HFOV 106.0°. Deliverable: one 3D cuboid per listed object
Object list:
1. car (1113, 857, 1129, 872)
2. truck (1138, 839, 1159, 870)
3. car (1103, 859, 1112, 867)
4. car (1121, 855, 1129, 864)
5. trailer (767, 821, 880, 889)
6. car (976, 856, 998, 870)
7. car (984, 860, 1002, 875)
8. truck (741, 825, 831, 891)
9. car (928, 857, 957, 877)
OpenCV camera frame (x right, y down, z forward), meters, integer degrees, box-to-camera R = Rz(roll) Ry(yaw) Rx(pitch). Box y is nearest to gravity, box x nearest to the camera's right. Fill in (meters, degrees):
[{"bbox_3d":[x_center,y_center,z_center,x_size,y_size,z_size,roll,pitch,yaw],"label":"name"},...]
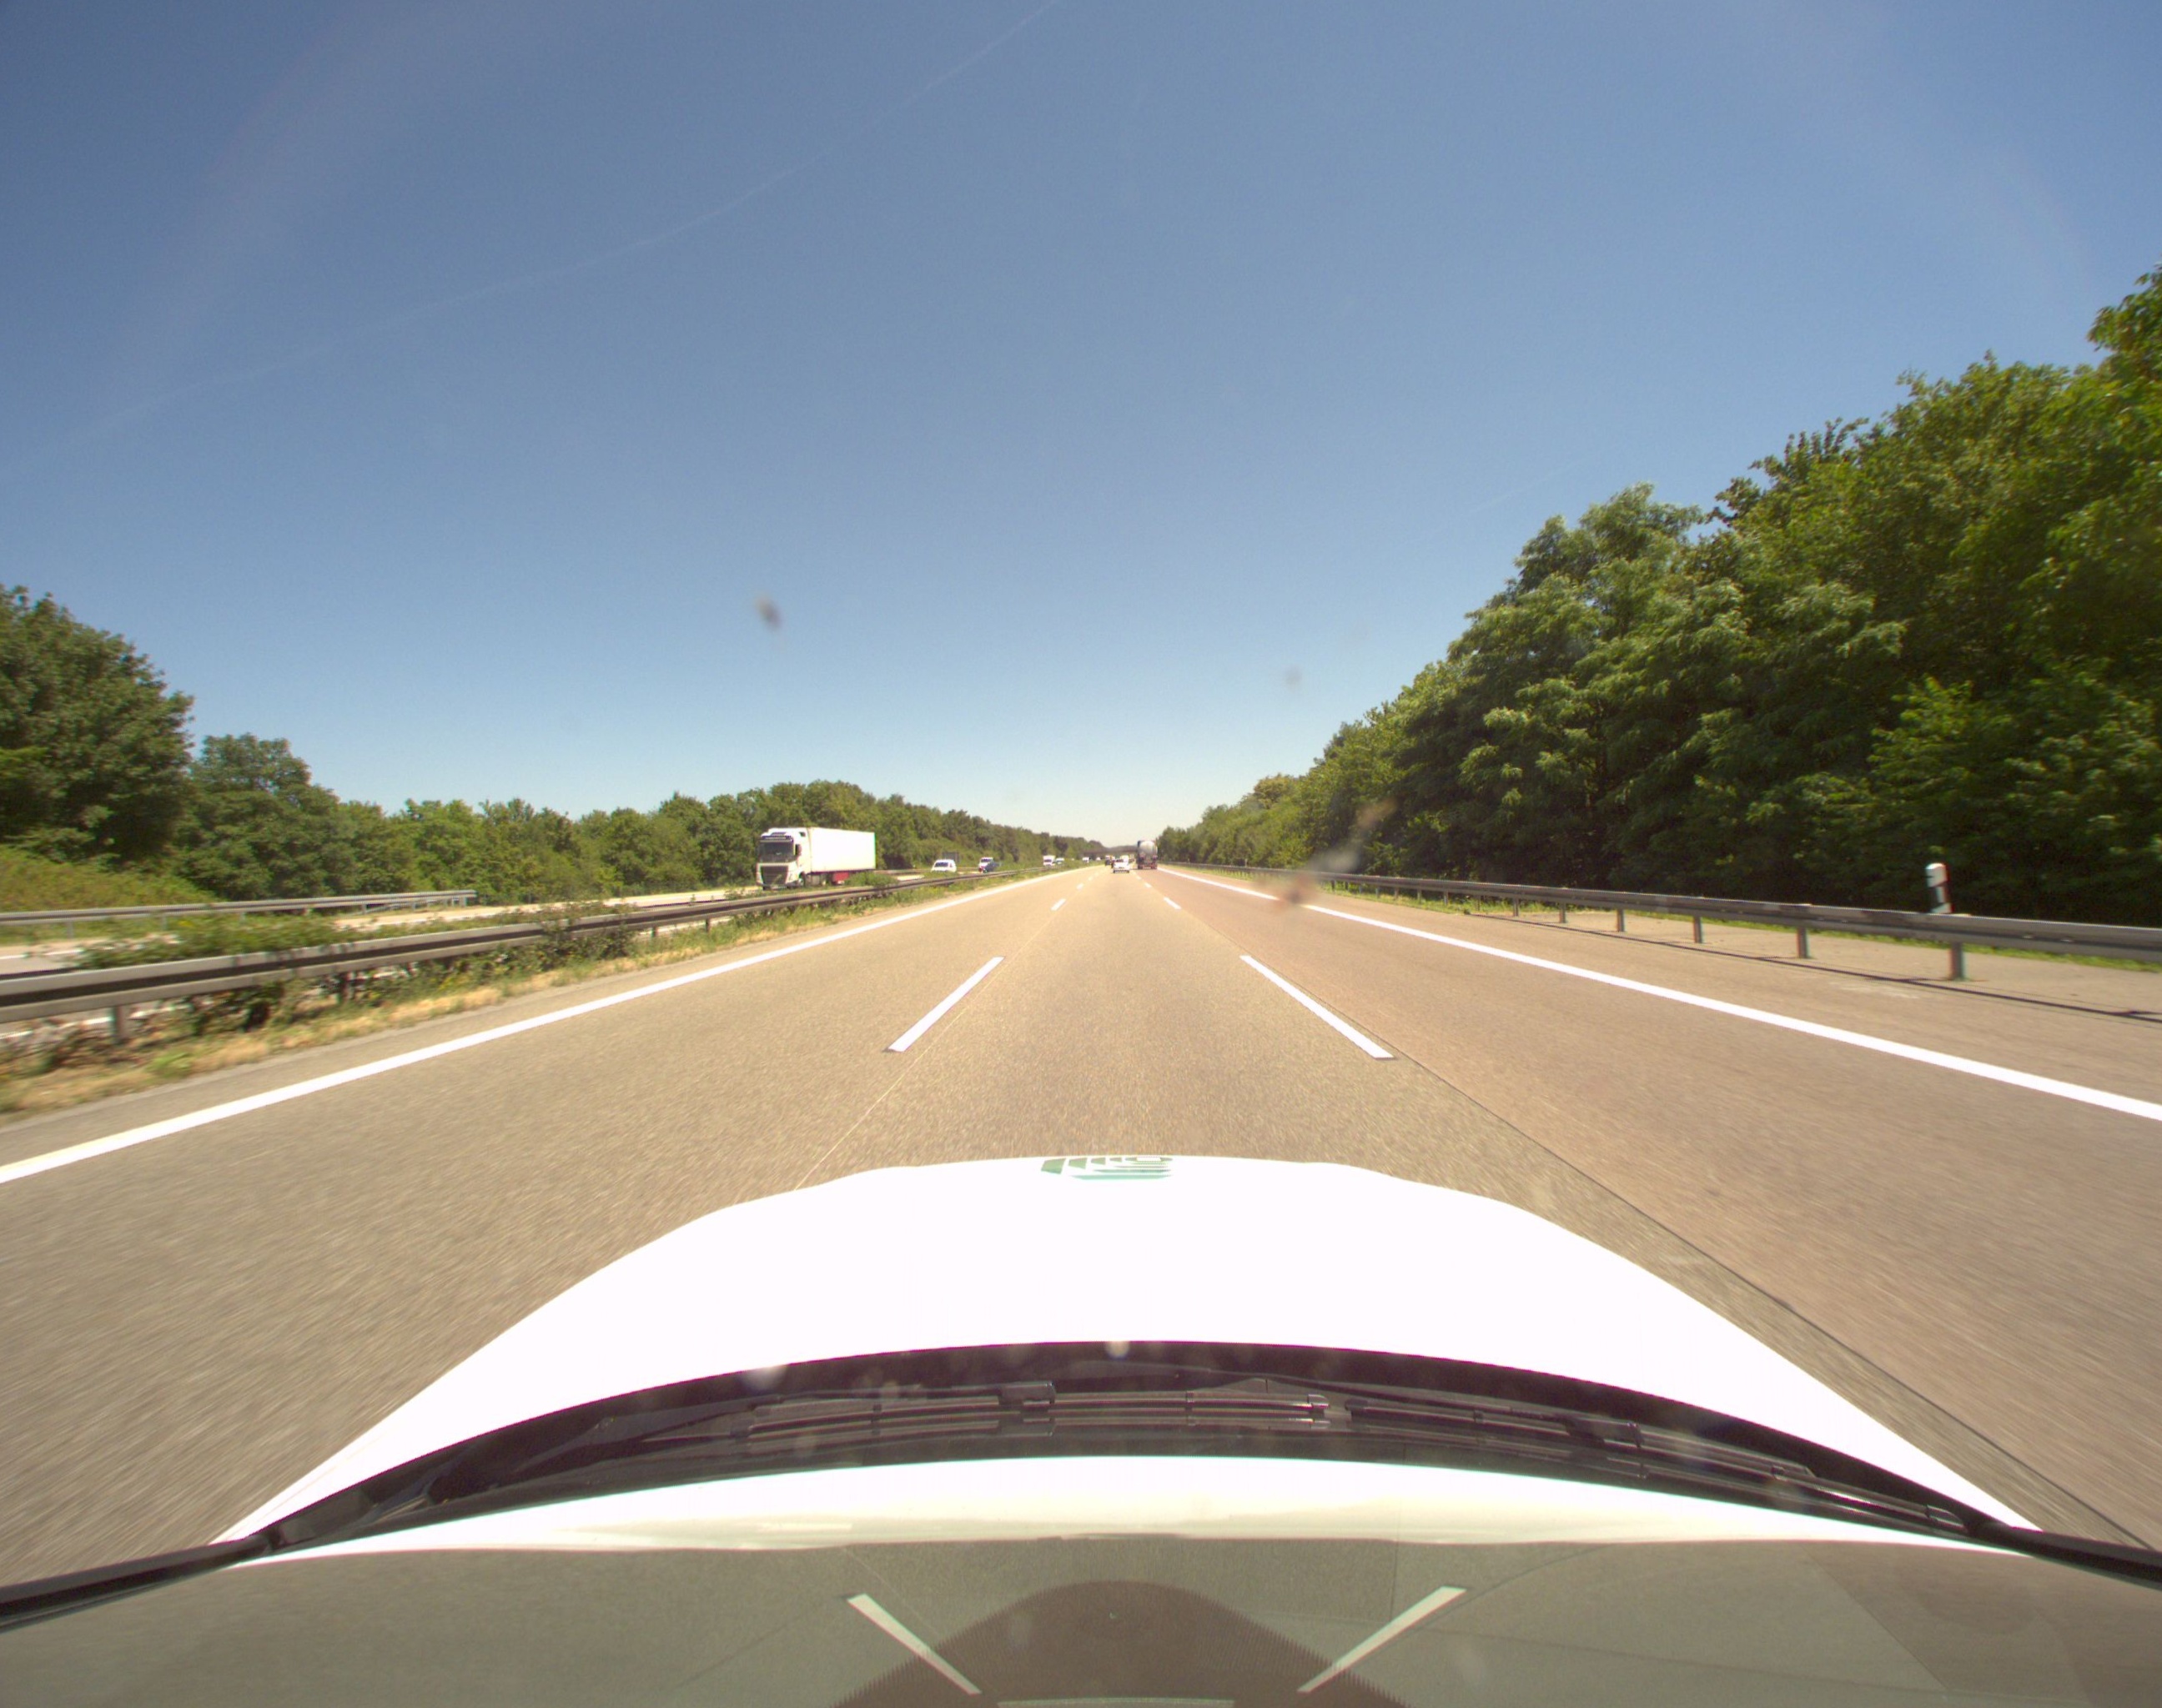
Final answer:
[{"bbox_3d":[4.232,1.120,85.855,1.621,1.479,4.002,-1,-1,2],"label":"car"},{"bbox_3d":[9.439,0.106,115.178,2.727,4.052,10.463,-1,-1,4],"label":"truck"},{"bbox_3d":[6.439,2.200,198.621,1.985,1.725,4.790,-1,-1,3],"label":"car"},{"bbox_3d":[11.644,1.411,213.902,1.984,2.343,4.392,-1,0,4],"label":"car"},{"bbox_3d":[-18.470,0.111,59.921,3.298,4.362,13.598,-1,0,3],"label":"trailer"},{"bbox_3d":[-14.755,1.432,128.004,2.235,2.172,6.546,-1,0,3],"label":"car"},{"bbox_3d":[-8.997,1.365,83.428,1.368,1.427,3.458,-1,0,2],"label":"car"},{"bbox_3d":[-18.835,0.269,52.426,3.247,3.951,6.105,-1,-1,3],"label":"truck"},{"bbox_3d":[-13.385,1.244,79.112,1.808,1.876,4.880,-1,0,1],"label":"car"}]
